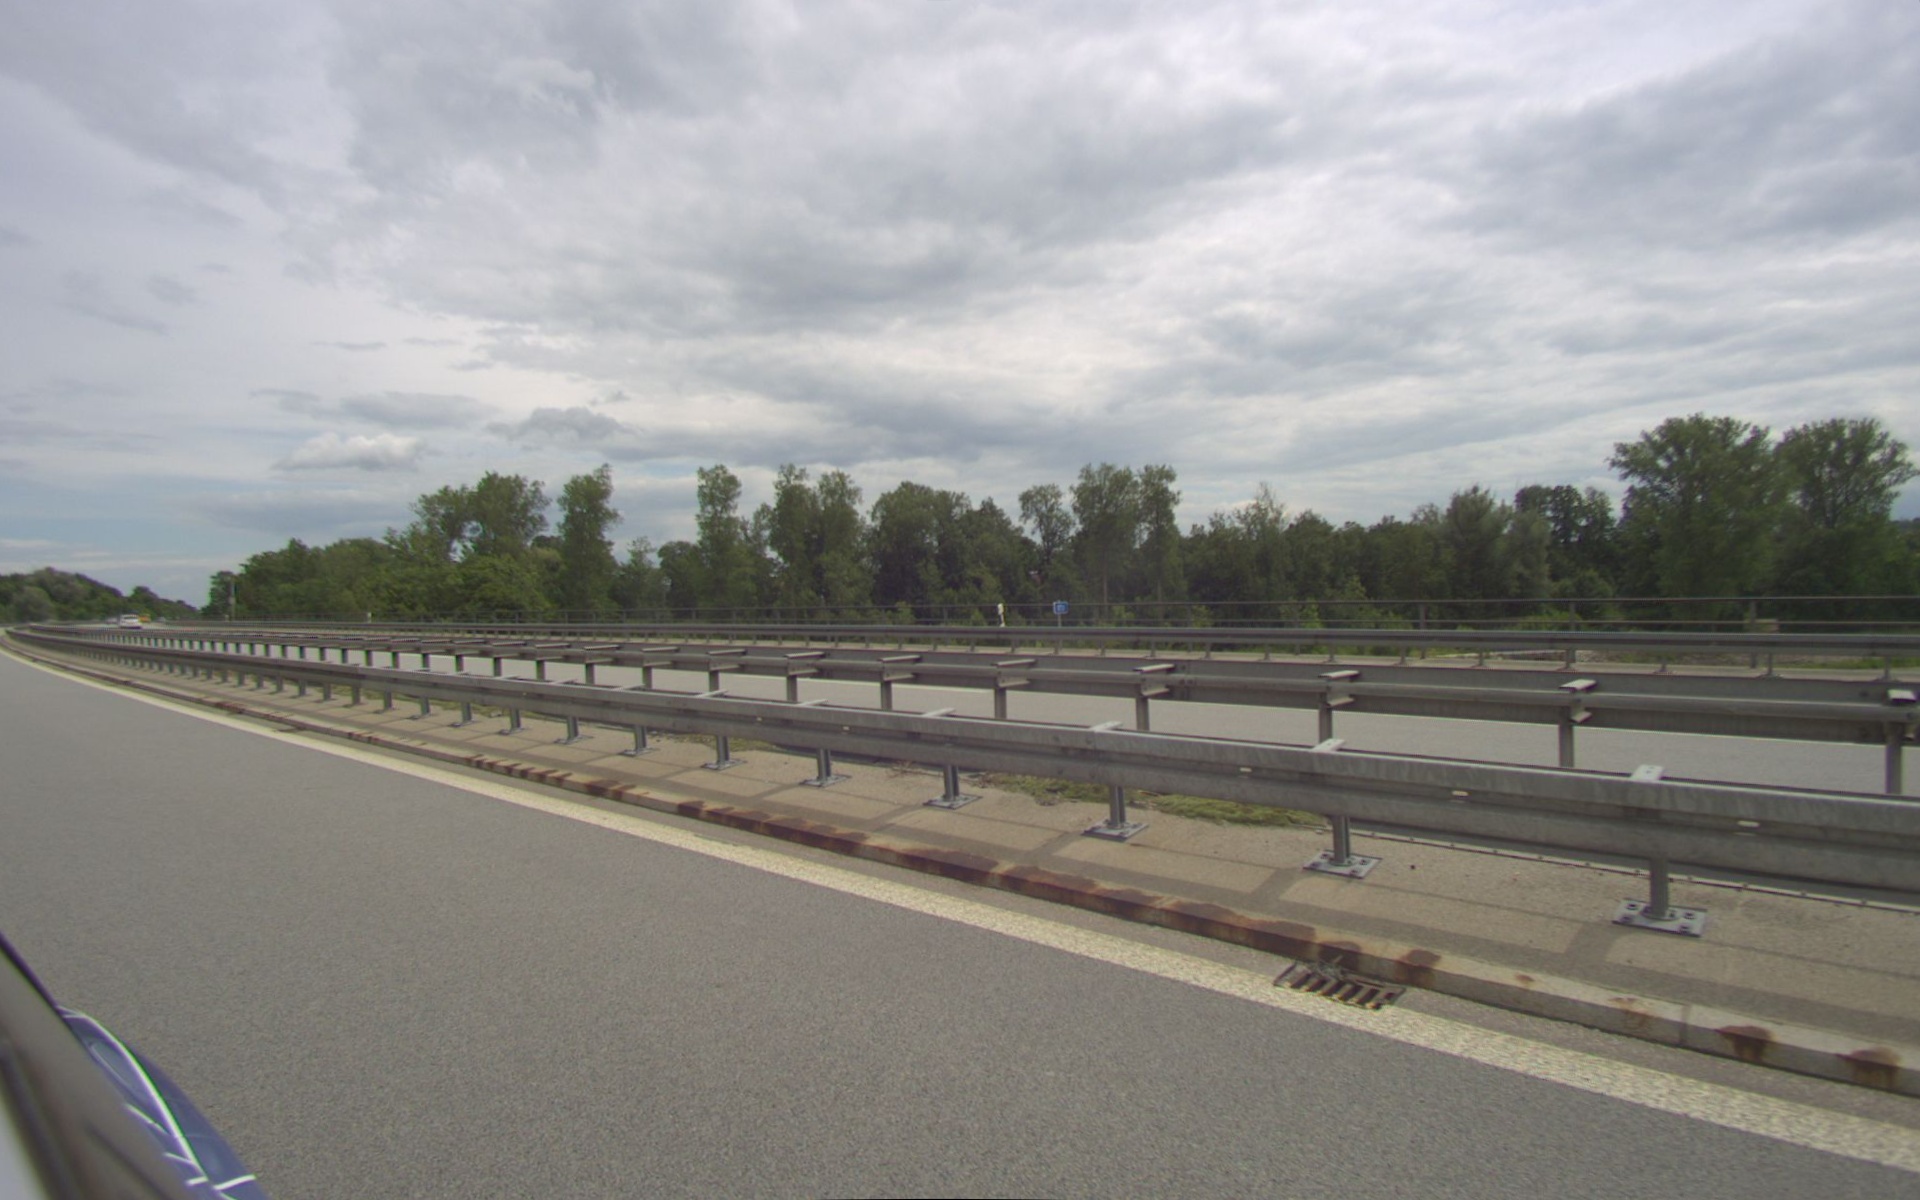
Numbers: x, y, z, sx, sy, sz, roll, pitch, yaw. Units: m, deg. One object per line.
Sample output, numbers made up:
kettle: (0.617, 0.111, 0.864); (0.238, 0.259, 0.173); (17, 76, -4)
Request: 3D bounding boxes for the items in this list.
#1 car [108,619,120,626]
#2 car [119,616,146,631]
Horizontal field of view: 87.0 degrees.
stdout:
car: (-172.529, 4.605, 206.344); (1.751, 1.397, 4.392); (-1, 0, -43)
car: (-79.090, 2.229, 96.731); (4.329, 1.417, 1.514); (-1, 0, 44)
